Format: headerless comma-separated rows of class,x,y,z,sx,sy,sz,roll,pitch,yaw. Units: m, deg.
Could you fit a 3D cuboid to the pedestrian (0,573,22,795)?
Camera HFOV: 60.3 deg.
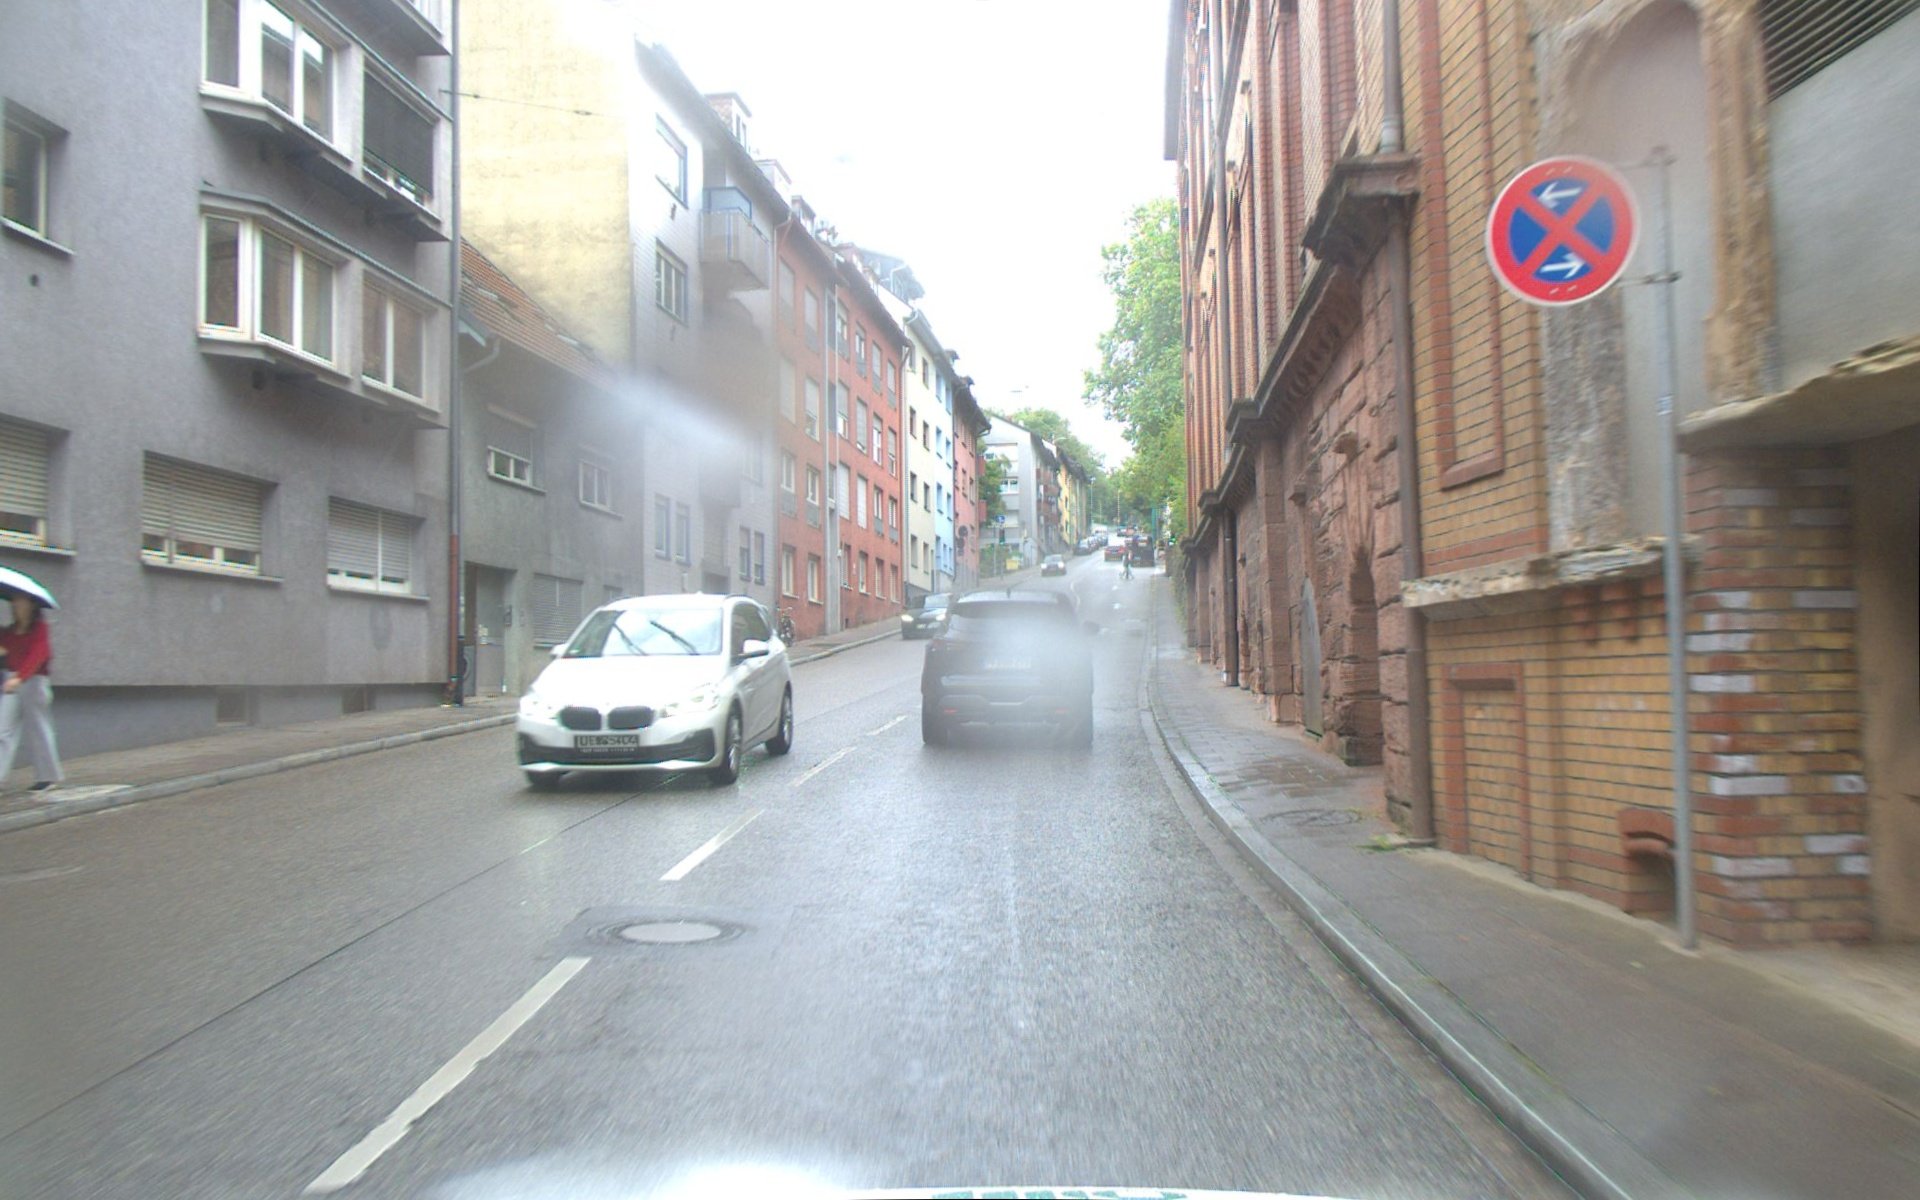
pedestrian,-8.068,0.691,13.406,0.512,1.807,0.622,-2,0,1

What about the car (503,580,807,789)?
car,-2.595,0.670,15.051,1.727,1.604,4.038,-2,0,4

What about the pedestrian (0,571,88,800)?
pedestrian,-7.528,0.679,13.414,0.512,1.807,0.622,-2,0,1

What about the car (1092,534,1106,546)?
car,18.950,-8.134,225.481,1.756,1.536,4.003,-1,1,7

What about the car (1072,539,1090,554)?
car,13.293,-5.874,180.901,1.756,1.536,4.003,-1,1,7

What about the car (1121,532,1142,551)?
car,15.626,-5.308,150.676,1.756,1.536,4.504,-1,1,7

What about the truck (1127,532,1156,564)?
truck,14.937,-4.267,135.744,2.241,2.482,4.456,-1,1,7

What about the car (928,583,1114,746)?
car,0.623,0.634,18.438,1.842,1.621,3.921,0,0,0

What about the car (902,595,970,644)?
car,-0.745,0.610,54.029,1.609,1.402,3.854,-3,0,7

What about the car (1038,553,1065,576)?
car,6.651,-2.578,119.786,1.677,1.473,3.925,-2,2,6

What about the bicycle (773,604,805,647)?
bicycle,-4.821,0.700,46.699,0.488,1.127,1.802,-1,1,8

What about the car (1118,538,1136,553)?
car,17.393,-5.644,171.836,1.756,1.536,4.003,-1,1,7

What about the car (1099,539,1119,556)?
car,14.138,-4.985,157.080,1.756,1.536,4.003,-1,1,7

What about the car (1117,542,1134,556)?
car,18.754,-5.755,187.532,1.756,1.536,4.003,-1,1,7
